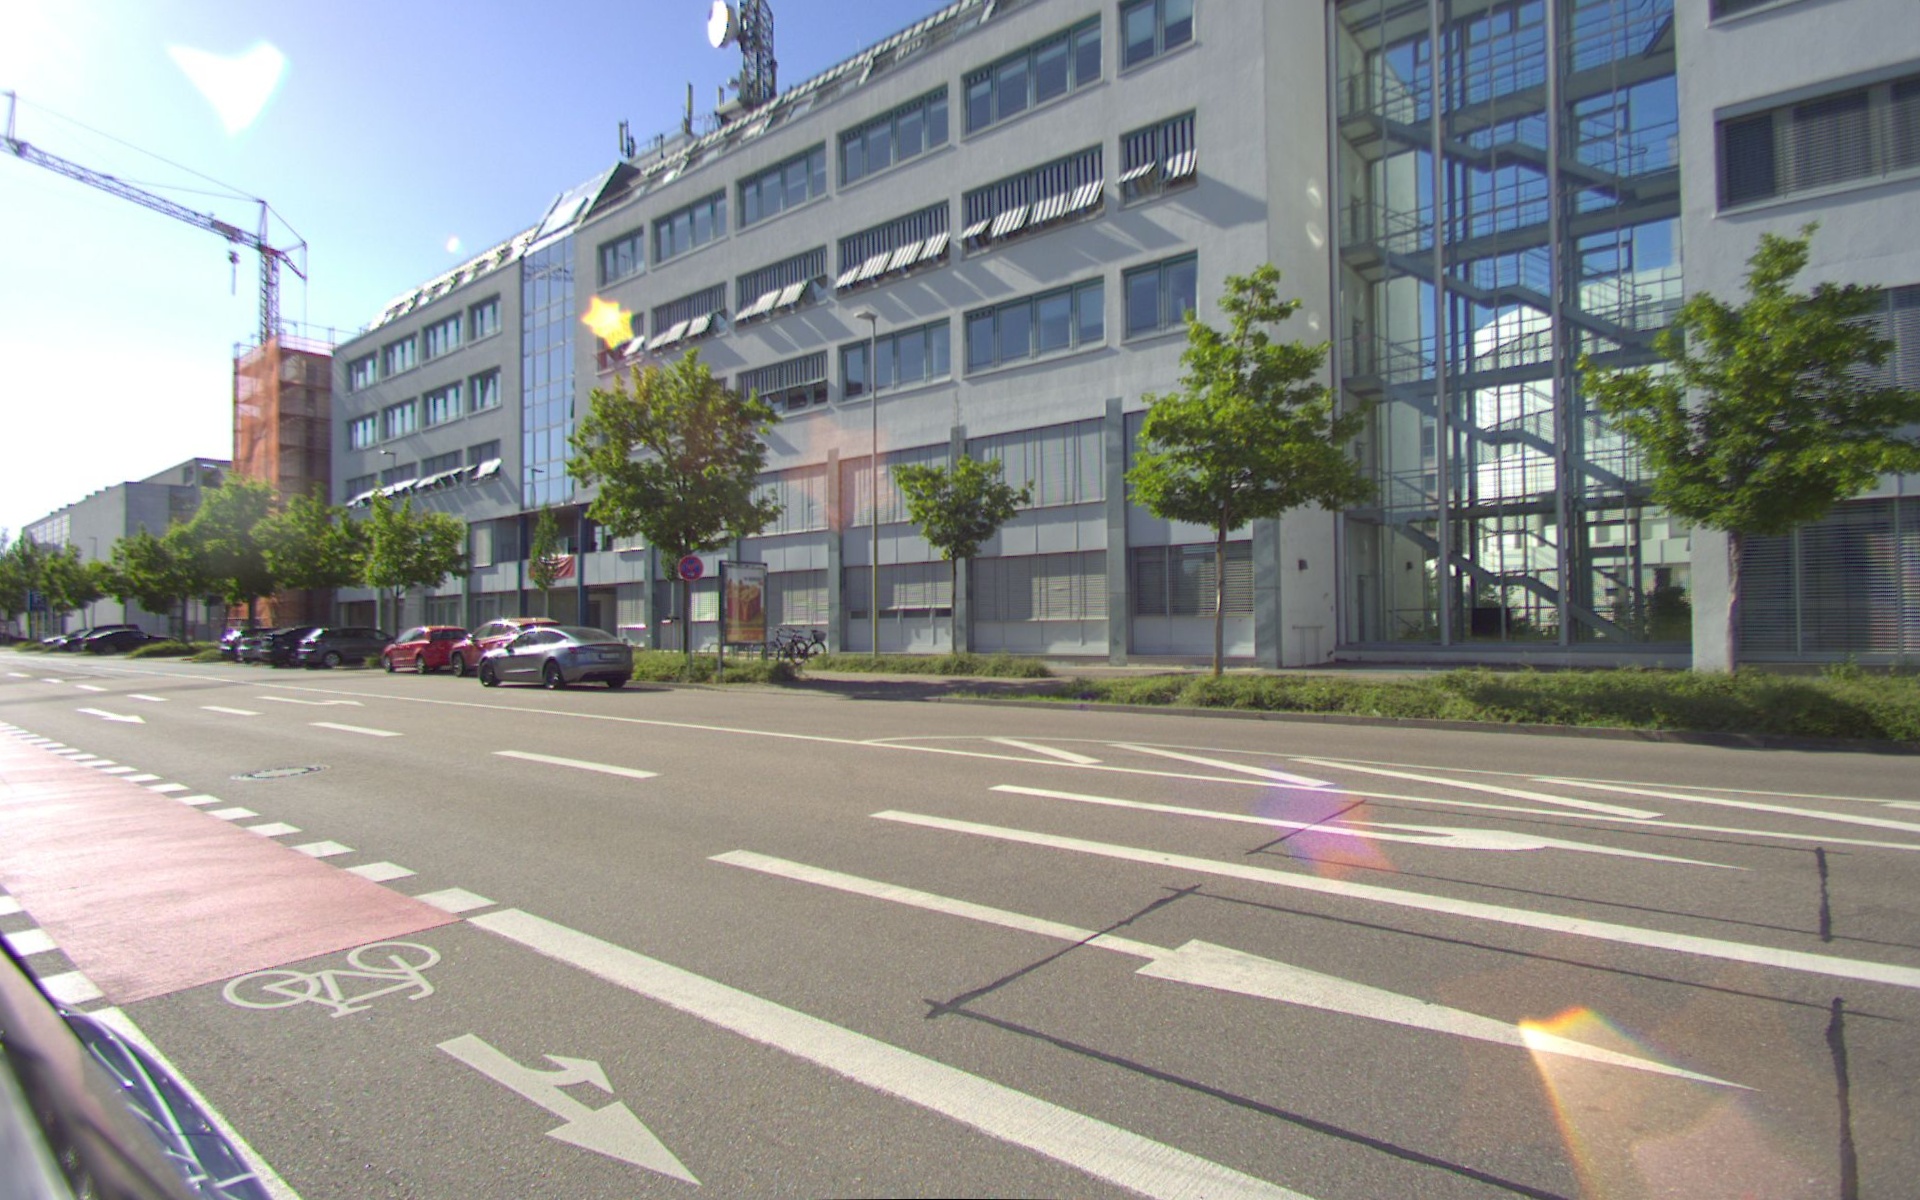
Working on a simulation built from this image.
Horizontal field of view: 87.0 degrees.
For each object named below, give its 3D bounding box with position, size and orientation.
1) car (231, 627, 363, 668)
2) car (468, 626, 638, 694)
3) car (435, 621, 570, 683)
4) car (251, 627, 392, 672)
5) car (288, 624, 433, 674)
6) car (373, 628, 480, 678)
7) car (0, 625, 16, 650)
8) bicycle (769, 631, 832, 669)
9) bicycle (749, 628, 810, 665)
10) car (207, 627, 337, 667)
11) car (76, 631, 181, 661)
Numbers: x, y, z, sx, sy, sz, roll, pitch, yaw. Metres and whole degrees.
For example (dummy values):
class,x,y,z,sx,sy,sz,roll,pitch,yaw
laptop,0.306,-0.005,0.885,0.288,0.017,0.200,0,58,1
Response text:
class,x,y,z,sx,sy,sz,roll,pitch,yaw
car,-27.890,1.956,42.706,1.691,1.442,4.344,-2,0,37
car,-9.764,1.395,24.133,4.539,1.479,1.672,-2,-3,37
car,-13.304,1.473,29.316,4.303,1.619,1.673,-2,0,37
car,-24.867,1.904,39.537,1.691,1.442,4.345,-2,0,37
car,-22.315,1.780,37.846,1.690,1.549,4.348,-2,0,35
car,-17.095,1.662,32.366,3.868,1.442,1.671,-2,0,40
car,-98.115,3.858,101.017,2.010,2.501,5.511,-2,0,42
bicycle,-4.660,1.445,29.562,1.767,1.077,0.622,2,-3,-43
bicycle,-5.326,1.365,29.962,1.746,1.077,0.556,2,-3,-43
car,-29.675,2.007,43.768,1.691,1.442,4.343,-2,0,38
car,-48.371,2.636,58.928,1.973,1.442,4.347,-2,0,36
